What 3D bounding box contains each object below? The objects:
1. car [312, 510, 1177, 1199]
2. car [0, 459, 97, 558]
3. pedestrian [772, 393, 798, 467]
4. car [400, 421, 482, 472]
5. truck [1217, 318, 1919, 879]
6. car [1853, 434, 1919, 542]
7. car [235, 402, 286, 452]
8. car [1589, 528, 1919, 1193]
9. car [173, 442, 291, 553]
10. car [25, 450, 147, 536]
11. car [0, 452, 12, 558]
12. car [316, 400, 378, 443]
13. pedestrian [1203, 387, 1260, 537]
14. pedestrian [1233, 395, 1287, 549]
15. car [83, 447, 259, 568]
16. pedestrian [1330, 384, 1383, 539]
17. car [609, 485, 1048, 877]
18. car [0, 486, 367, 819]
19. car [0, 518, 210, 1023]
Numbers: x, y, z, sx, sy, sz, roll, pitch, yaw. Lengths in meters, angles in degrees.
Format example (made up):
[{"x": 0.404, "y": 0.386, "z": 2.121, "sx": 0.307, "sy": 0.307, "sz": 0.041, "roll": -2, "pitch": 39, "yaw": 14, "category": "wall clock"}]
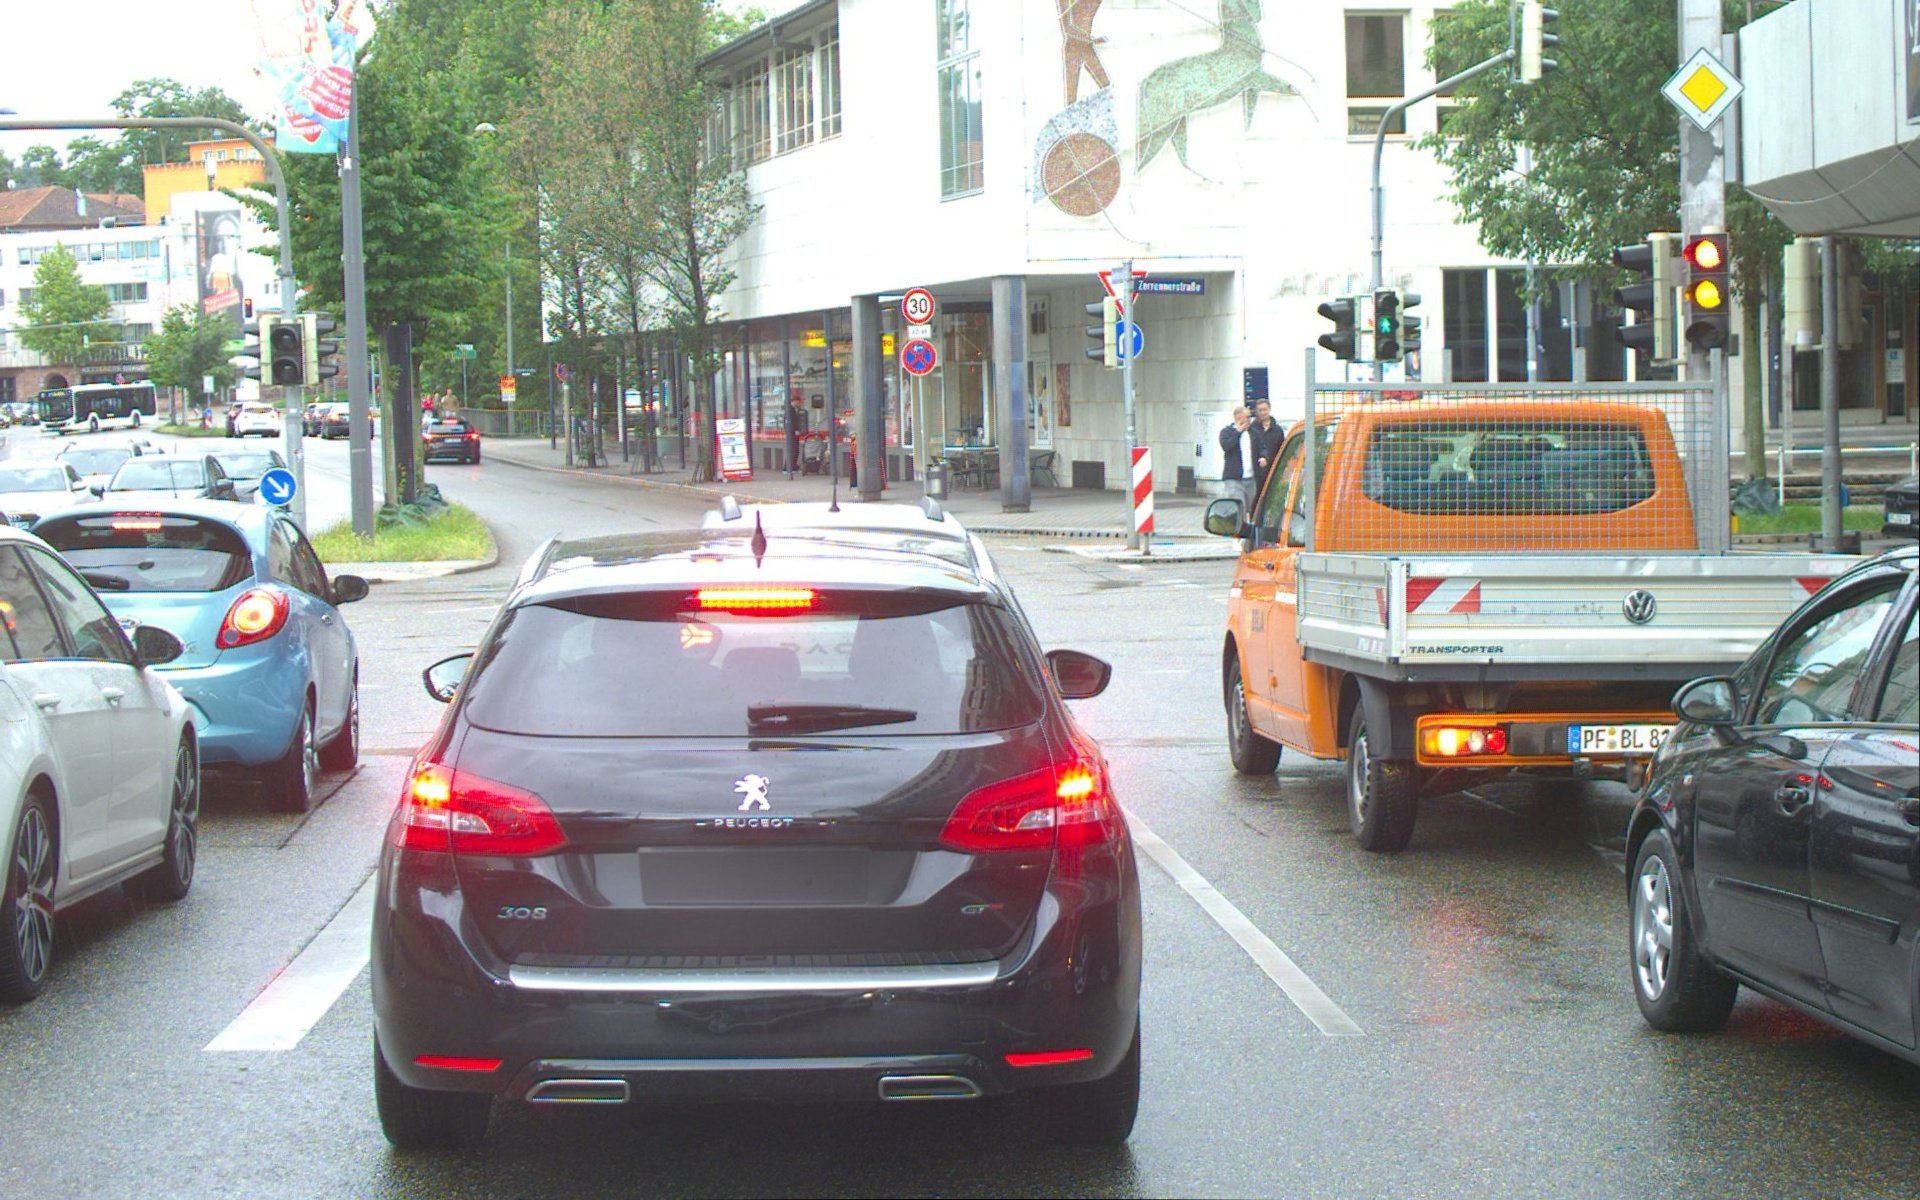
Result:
[{"x": -0.450, "y": 0.494, "z": 9.024, "sx": 1.777, "sy": 1.424, "sz": 3.842, "roll": 1, "pitch": 2, "yaw": 0, "category": "car"}, {"x": -14.655, "y": -1.462, "z": 54.088, "sx": 1.632, "sy": 1.481, "sz": 3.610, "roll": 0, "pitch": 2, "yaw": -7, "category": "car"}, {"x": -4.214, "y": -4.087, "z": 82.730, "sx": 0.468, "sy": 1.742, "sz": 0.541, "roll": 1, "pitch": 0, "yaw": -21, "category": "pedestrian"}, {"x": -15.985, "y": -4.741, "z": 105.696, "sx": 1.787, "sy": 1.449, "sz": 4.508, "roll": -4, "pitch": 4, "yaw": -17, "category": "car"}, {"x": 2.588, "y": -0.101, "z": 15.882, "sx": 2.177, "sy": 2.165, "sz": 5.021, "roll": 1, "pitch": 2, "yaw": -3, "category": "truck"}, {"x": 12.537, "y": -1.295, "z": 40.362, "sx": 3.688, "sy": 1.208, "sz": 1.835, "roll": 1, "pitch": 0, "yaw": 4, "category": "car"}, {"x": -29.699, "y": -7.330, "z": 145.939, "sx": 1.705, "sy": 1.875, "sz": 4.001, "roll": 1, "pitch": 0, "yaw": -18, "category": "car"}, {"x": 2.853, "y": 0.560, "z": 8.631, "sx": 1.616, "sy": 1.424, "sz": 3.843, "roll": 0, "pitch": 2, "yaw": -3, "category": "car"}, {"x": -11.539, "y": -1.595, "z": 54.685, "sx": 1.744, "sy": 1.634, "sz": 4.001, "roll": 1, "pitch": 0, "yaw": -11, "category": "car"}, {"x": -15.511, "y": -1.923, "z": 61.169, "sx": 1.632, "sy": 1.481, "sz": 3.610, "roll": 0, "pitch": 2, "yaw": -7, "category": "car"}, {"x": -14.158, "y": -1.296, "z": 47.038, "sx": 1.574, "sy": 1.481, "sz": 3.610, "roll": 0, "pitch": 2, "yaw": -4, "category": "car"}, {"x": -24.756, "y": -7.197, "z": 138.817, "sx": 1.724, "sy": 1.485, "sz": 4.734, "roll": 1, "pitch": 0, "yaw": -19, "category": "car"}, {"x": 3.229, "y": -1.630, "z": 40.850, "sx": 0.637, "sy": 1.752, "sz": 0.733, "roll": 0, "pitch": 0, "yaw": 6, "category": "pedestrian"}, {"x": 3.742, "y": -1.594, "z": 42.874, "sx": 0.637, "sy": 1.891, "sz": 0.733, "roll": 0, "pitch": 0, "yaw": 6, "category": "pedestrian"}, {"x": -10.945, "y": -1.255, "z": 47.917, "sx": 1.744, "sy": 1.574, "sz": 4.000, "roll": 1, "pitch": 0, "yaw": -4, "category": "car"}, {"x": 4.894, "y": -1.705, "z": 42.467, "sx": 0.637, "sy": 1.891, "sz": 0.733, "roll": 0, "pitch": 0, "yaw": 6, "category": "pedestrian"}, {"x": -0.538, "y": 0.254, "z": 15.257, "sx": 1.696, "sy": 1.481, "sz": 3.794, "roll": 1, "pitch": 2, "yaw": -1, "category": "car"}, {"x": -3.990, "y": 0.185, "z": 17.494, "sx": 1.632, "sy": 1.481, "sz": 3.610, "roll": 0, "pitch": 2, "yaw": -5, "category": "car"}, {"x": -3.728, "y": 0.453, "z": 11.459, "sx": 1.777, "sy": 1.424, "sz": 3.843, "roll": 0, "pitch": 2, "yaw": -3, "category": "car"}]
